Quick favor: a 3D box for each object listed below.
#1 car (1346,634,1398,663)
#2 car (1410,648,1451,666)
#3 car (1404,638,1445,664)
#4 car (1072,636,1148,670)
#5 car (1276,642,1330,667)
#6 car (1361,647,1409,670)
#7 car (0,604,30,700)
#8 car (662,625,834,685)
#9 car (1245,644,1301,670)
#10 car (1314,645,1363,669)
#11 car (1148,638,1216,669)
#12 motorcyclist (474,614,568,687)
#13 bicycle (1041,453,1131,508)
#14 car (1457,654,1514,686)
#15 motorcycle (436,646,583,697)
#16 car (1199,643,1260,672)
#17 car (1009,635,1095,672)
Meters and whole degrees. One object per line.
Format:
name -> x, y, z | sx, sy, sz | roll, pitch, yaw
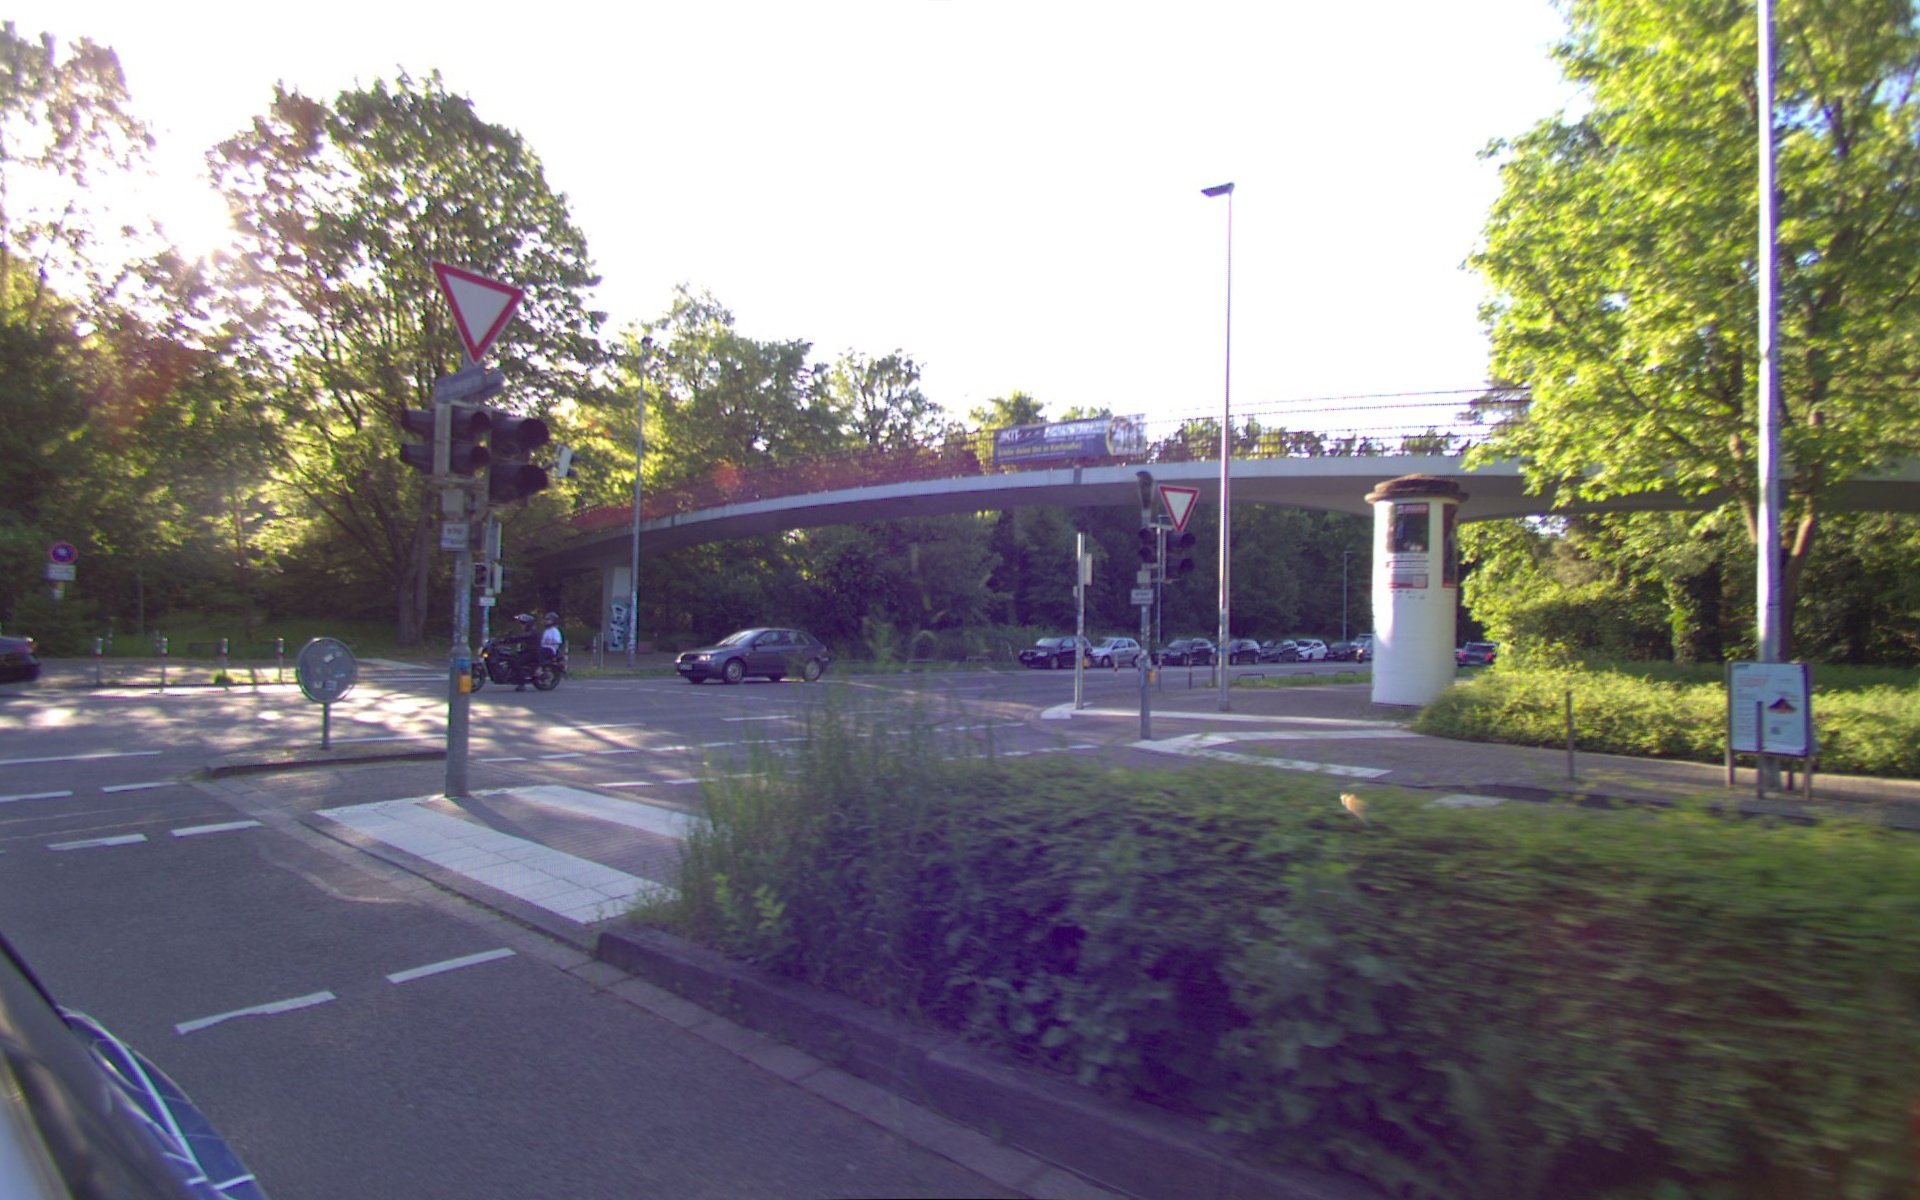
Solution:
car -> 30.333, 3.544, 74.447 | 2.018, 1.991, 4.971 | 0, -2, 42
car -> 34.969, 4.234, 75.127 | 1.737, 1.254, 3.944 | -1, -3, 42
car -> 38.570, 4.233, 83.998 | 1.953, 1.991, 4.334 | 0, -2, 42
car -> 7.241, 2.521, 48.611 | 1.721, 1.519, 3.920 | 0, -2, 42
car -> 22.284, 3.541, 65.675 | 1.738, 1.519, 4.334 | 0, -2, 42
car -> 25.132, 3.435, 59.802 | 1.466, 1.254, 3.944 | -1, -3, 42
car -> -18.761, 0.806, 15.965 | 1.999, 1.647, 5.806 | -1, -2, 41
car -> -5.317, 1.400, 25.712 | 1.868, 1.400, 3.944 | -4, -5, 42
car -> 19.268, 3.484, 62.261 | 1.738, 1.519, 4.167 | 0, -2, 42
car -> 26.189, 3.946, 69.897 | 1.738, 1.519, 4.334 | 0, -2, 42
car -> 11.833, 2.811, 53.685 | 1.738, 1.519, 4.095 | 0, -2, 42
motorcyclist -> -9.123, 1.017, 21.049 | 1.542, 1.438, 1.141 | 0, -1, -39
bicycle -> 3.635, -3.437, 29.364 | 2.450, 1.383, 1.036 | 3, 0, 45
car -> 27.767, 3.682, 53.412 | 1.713, 1.464, 3.588 | 4, 0, 42
motorcycle -> -9.286, 1.451, 20.940 | 2.669, 0.920, 0.809 | 0, -1, -40
car -> 15.378, 3.250, 57.610 | 1.705, 1.519, 4.079 | 0, -2, 42
car -> 4.128, 2.381, 45.069 | 1.695, 1.519, 4.068 | 0, -2, 42
